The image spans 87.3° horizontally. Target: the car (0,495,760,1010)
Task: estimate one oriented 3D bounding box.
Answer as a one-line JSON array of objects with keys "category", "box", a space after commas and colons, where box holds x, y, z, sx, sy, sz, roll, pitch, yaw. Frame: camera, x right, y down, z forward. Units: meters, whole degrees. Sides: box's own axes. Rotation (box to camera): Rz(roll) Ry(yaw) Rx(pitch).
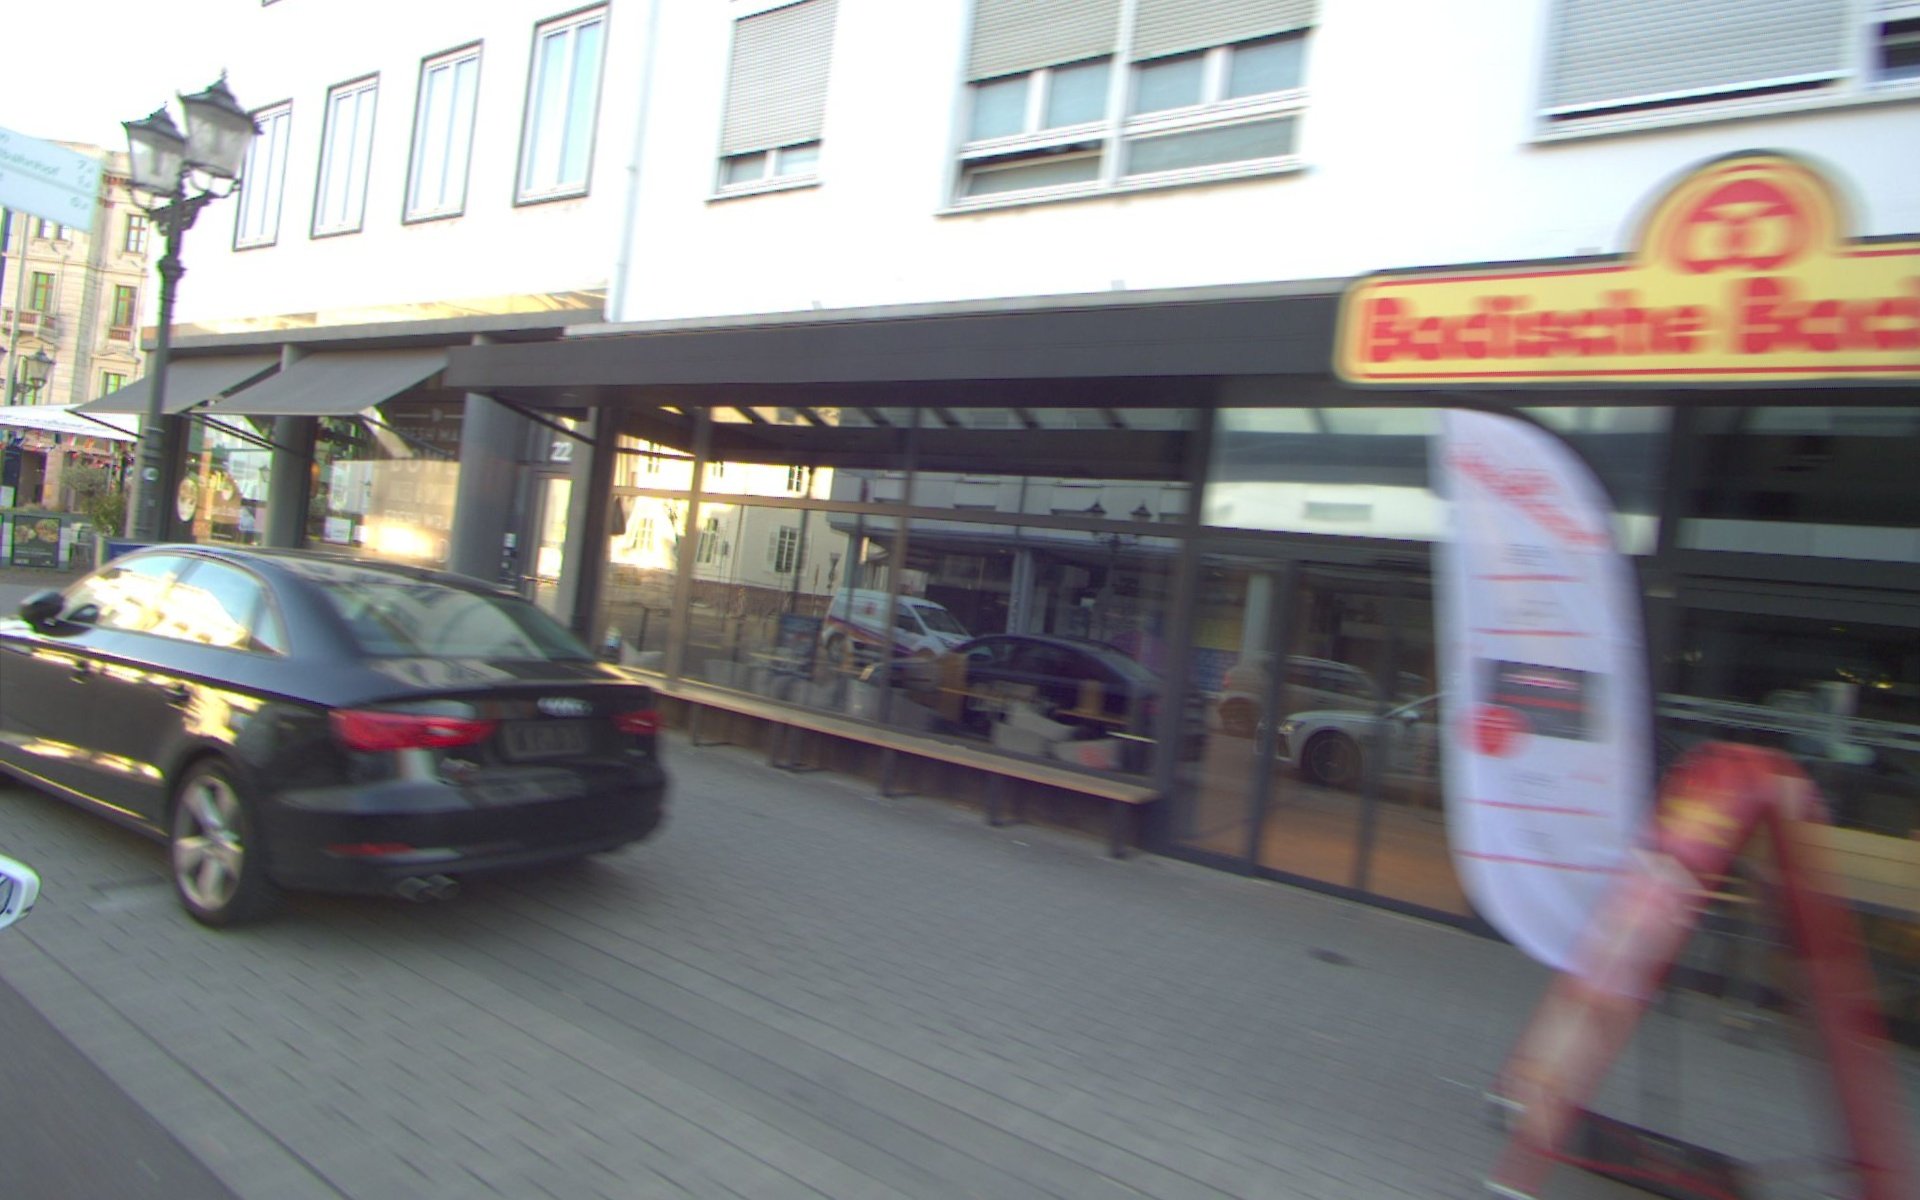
[{"category": "car", "box": [-3.220, 0.429, 5.012, 4.046, 1.482, 1.805, 7, 0, 29]}]
